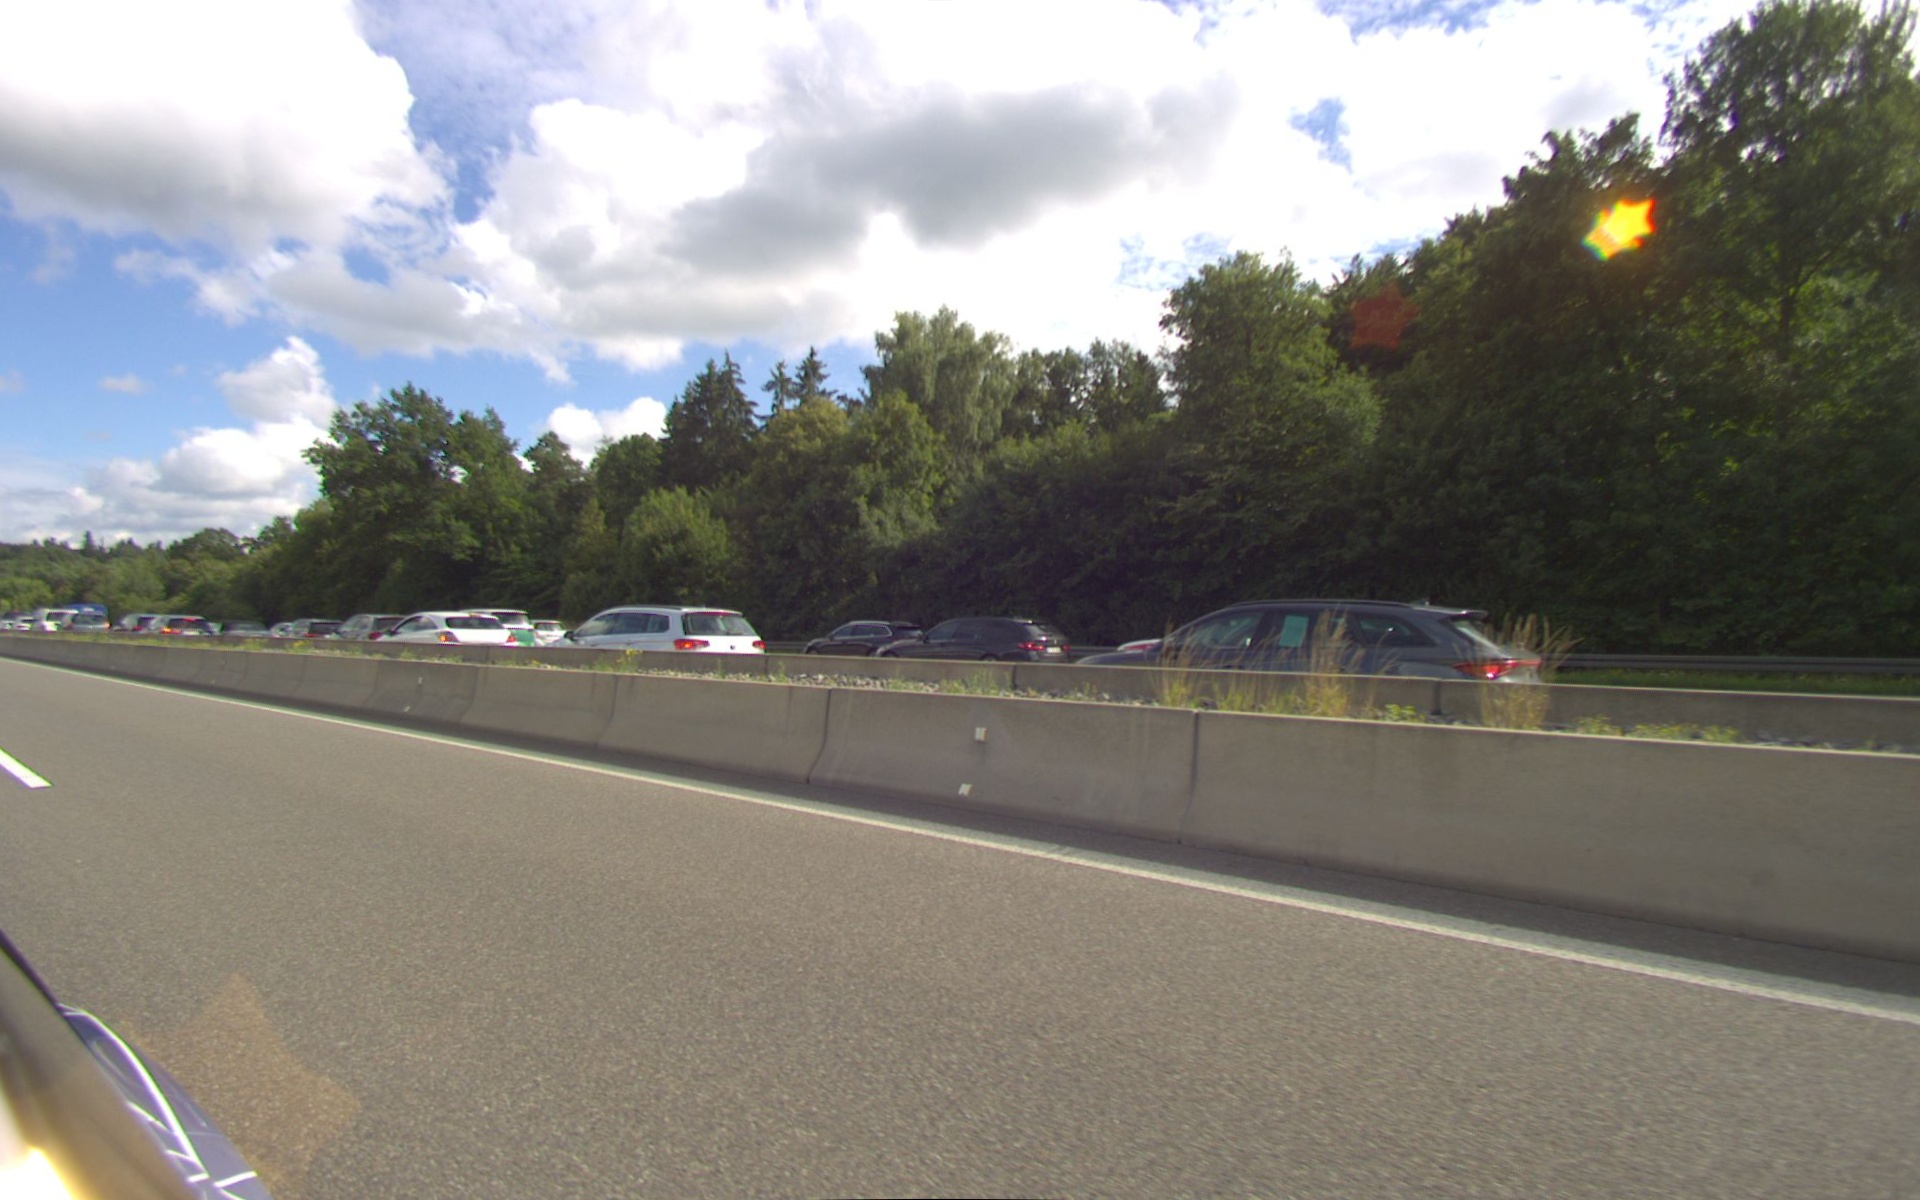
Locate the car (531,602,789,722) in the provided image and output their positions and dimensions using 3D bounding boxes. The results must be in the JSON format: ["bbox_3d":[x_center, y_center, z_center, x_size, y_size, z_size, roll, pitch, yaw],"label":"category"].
[{"bbox_3d":[-4.815,0.909,15.877,4.548,1.630,1.724,-2,-3,41],"label":"car"}]

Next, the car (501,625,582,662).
[{"bbox_3d":[-18.572,1.909,44.849,3.998,1.564,1.757,-2,-3,41],"label":"car"}]

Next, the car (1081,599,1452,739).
[{"bbox_3d":[4.116,0.872,14.070,4.548,1.630,1.973,-2,-3,41],"label":"car"}]

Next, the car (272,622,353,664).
[{"bbox_3d":[-25.361,1.665,39.607,3.998,1.564,1.614,-2,-3,41],"label":"car"}]

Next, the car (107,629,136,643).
[{"bbox_3d":[-99.233,4.245,119.720,4.203,1.564,1.973,-2,-2,41],"label":"car"}]

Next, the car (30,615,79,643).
[{"bbox_3d":[-52.055,1.652,58.164,3.998,1.564,1.613,-2,-3,41],"label":"car"}]

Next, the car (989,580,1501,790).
[{"bbox_3d":[2.652,0.726,10.127,4.548,1.630,1.973,-2,-3,41],"label":"car"}]

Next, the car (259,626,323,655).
[{"bbox_3d":[-37.090,2.233,56.091,3.998,1.564,1.973,-2,-3,41],"label":"car"}]

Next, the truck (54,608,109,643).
[{"bbox_3d":[-64.601,1.867,74.422,5.237,2.477,2.338,-1,-2,41],"label":"truck"}]

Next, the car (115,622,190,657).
[{"bbox_3d":[-36.880,1.789,46.208,3.998,1.564,1.973,-2,-3,41],"label":"car"}]

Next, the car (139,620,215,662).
[{"bbox_3d":[-30.704,1.588,39.662,3.998,1.564,1.621,-2,-3,41],"label":"car"}]

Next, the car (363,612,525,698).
[{"bbox_3d":[-10.862,1.109,21.193,3.998,1.630,1.643,-2,-3,41],"label":"car"}]

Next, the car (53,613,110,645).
[{"bbox_3d":[-44.975,1.496,51.783,3.998,1.564,1.676,-2,-3,41],"label":"car"}]

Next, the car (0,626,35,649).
[{"bbox_3d":[-68.522,2.704,73.182,3.998,1.564,1.973,-2,-3,41],"label":"car"}]

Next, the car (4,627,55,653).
[{"bbox_3d":[-59.533,2.545,64.736,3.998,1.564,1.973,-2,-3,41],"label":"car"}]

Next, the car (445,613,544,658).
[{"bbox_3d":[-17.747,1.340,38.487,3.998,1.630,1.963,-2,-2,41],"label":"car"}]

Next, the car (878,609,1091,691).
[{"bbox_3d":[0.462,1.068,22.433,4.548,1.630,1.973,-2,-3,41],"label":"car"}]

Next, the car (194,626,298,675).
[{"bbox_3d":[-24.138,1.666,34.154,3.998,1.564,1.973,-2,-2,41],"label":"car"}]

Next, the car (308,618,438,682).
[{"bbox_3d":[-15.480,1.283,26.622,3.998,1.564,1.776,-2,-3,41],"label":"car"}]

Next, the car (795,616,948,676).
[{"bbox_3d":[-2.698,1.337,30.153,4.548,1.630,1.973,-2,-3,41],"label":"car"}]
